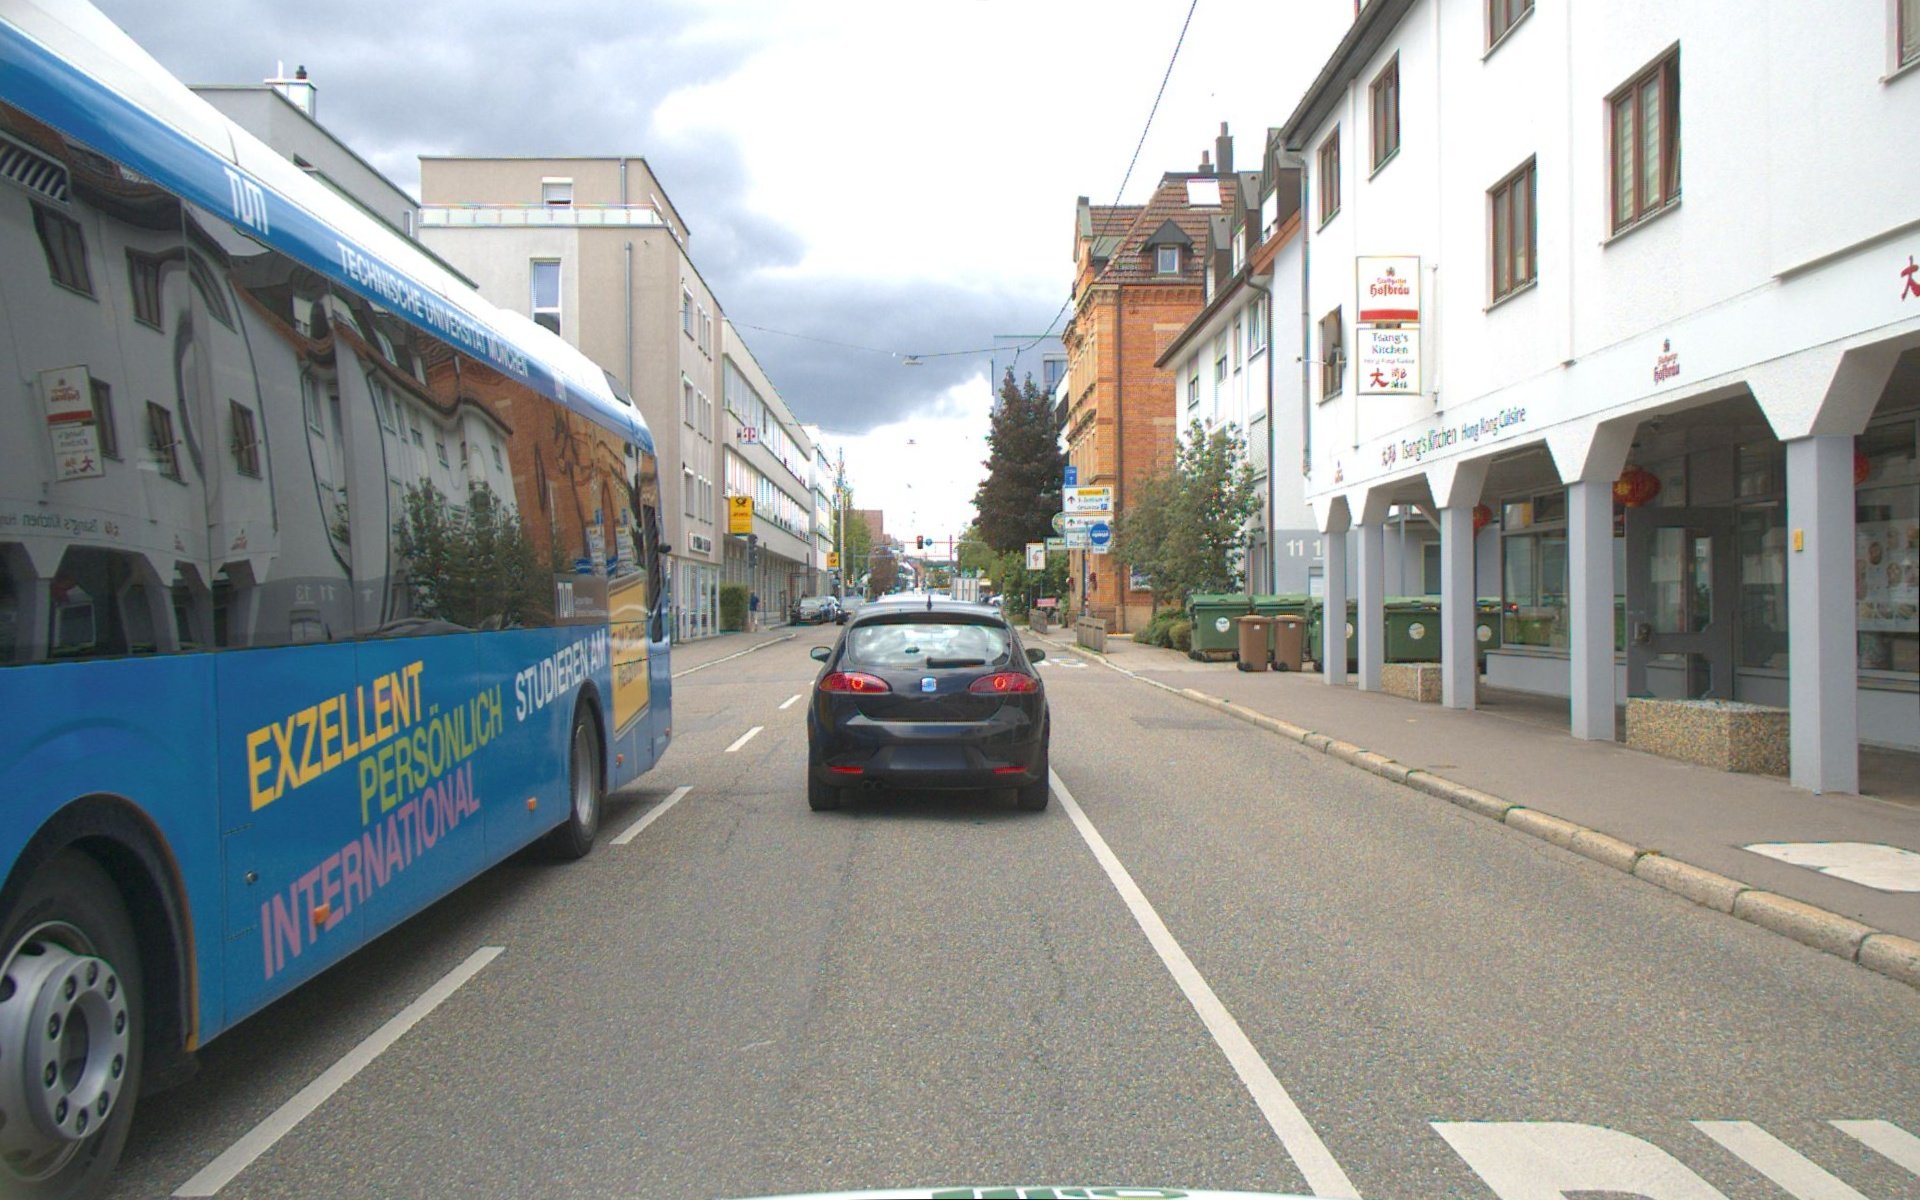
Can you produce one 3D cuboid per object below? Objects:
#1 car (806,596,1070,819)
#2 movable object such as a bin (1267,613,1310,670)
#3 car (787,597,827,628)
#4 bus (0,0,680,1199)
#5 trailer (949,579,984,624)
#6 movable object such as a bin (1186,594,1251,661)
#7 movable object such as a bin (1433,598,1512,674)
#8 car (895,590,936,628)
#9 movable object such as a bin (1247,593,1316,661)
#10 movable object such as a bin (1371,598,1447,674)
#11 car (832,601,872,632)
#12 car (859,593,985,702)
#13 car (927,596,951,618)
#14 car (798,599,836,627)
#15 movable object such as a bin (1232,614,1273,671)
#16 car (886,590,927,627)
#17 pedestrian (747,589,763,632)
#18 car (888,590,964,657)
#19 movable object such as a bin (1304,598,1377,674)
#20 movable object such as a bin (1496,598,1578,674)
[{"bbox_3d":[-0.183,0.700,12.774,1.730,1.458,3.827,0,0,-1],"label":"car"},{"bbox_3d":[6.465,0.808,32.562,0.683,1.098,0.972,0,0,3],"label":"movable object such as a bin"},{"bbox_3d":[-8.171,0.655,88.638,1.874,1.543,4.173,-1,0,-2],"label":"car"},{"bbox_3d":[-3.585,-0.163,7.236,2.883,3.331,12.004,-2,0,-2],"label":"bus"},{"bbox_3d":[0.354,0.102,100.701,1.953,2.653,5.347,0,0,-2],"label":"trailer"},{"bbox_3d":[5.698,0.599,36.494,1.241,1.442,1.162,0,0,-1],"label":"movable object such as a bin"},{"bbox_3d":[9.970,0.688,32.245,1.184,1.442,1.260,0,0,2],"label":"movable object such as a bin"},{"bbox_3d":[-1.984,0.387,73.915,1.767,1.629,3.736,1,0,-2],"label":"car"},{"bbox_3d":[7.030,0.575,36.246,1.241,1.460,1.307,0,0,-1],"label":"movable object such as a bin"},{"bbox_3d":[8.738,0.689,32.250,1.184,1.442,1.260,0,0,2],"label":"movable object such as a bin"},{"bbox_3d":[-5.626,0.827,86.582,1.841,1.476,4.212,-3,0,-2],"label":"car"},{"bbox_3d":[-0.599,0.667,25.207,1.767,1.519,3.736,0,0,-2],"label":"car"},{"bbox_3d":[-1.613,0.500,125.510,1.767,1.629,3.736,1,0,-2],"label":"car"},{"bbox_3d":[-8.136,0.700,94.484,1.953,1.543,4.173,0,0,-2],"label":"car"},{"bbox_3d":[5.750,0.823,32.572,0.669,1.086,0.972,0,0,3],"label":"movable object such as a bin"},{"bbox_3d":[-2.393,0.379,73.713,1.767,1.580,3.736,0,0,-2],"label":"car"},{"bbox_3d":[-8.502,0.427,68.632,0.630,1.800,0.809,0,0,-4],"label":"pedestrian"},{"bbox_3d":[-0.861,0.555,40.950,1.767,1.580,3.736,0,0,-2],"label":"car"},{"bbox_3d":[7.402,0.694,32.235,1.184,1.442,1.260,0,0,2],"label":"movable object such as a bin"},{"bbox_3d":[11.225,0.687,32.208,1.184,1.442,1.260,0,0,2],"label":"movable object such as a bin"}]
